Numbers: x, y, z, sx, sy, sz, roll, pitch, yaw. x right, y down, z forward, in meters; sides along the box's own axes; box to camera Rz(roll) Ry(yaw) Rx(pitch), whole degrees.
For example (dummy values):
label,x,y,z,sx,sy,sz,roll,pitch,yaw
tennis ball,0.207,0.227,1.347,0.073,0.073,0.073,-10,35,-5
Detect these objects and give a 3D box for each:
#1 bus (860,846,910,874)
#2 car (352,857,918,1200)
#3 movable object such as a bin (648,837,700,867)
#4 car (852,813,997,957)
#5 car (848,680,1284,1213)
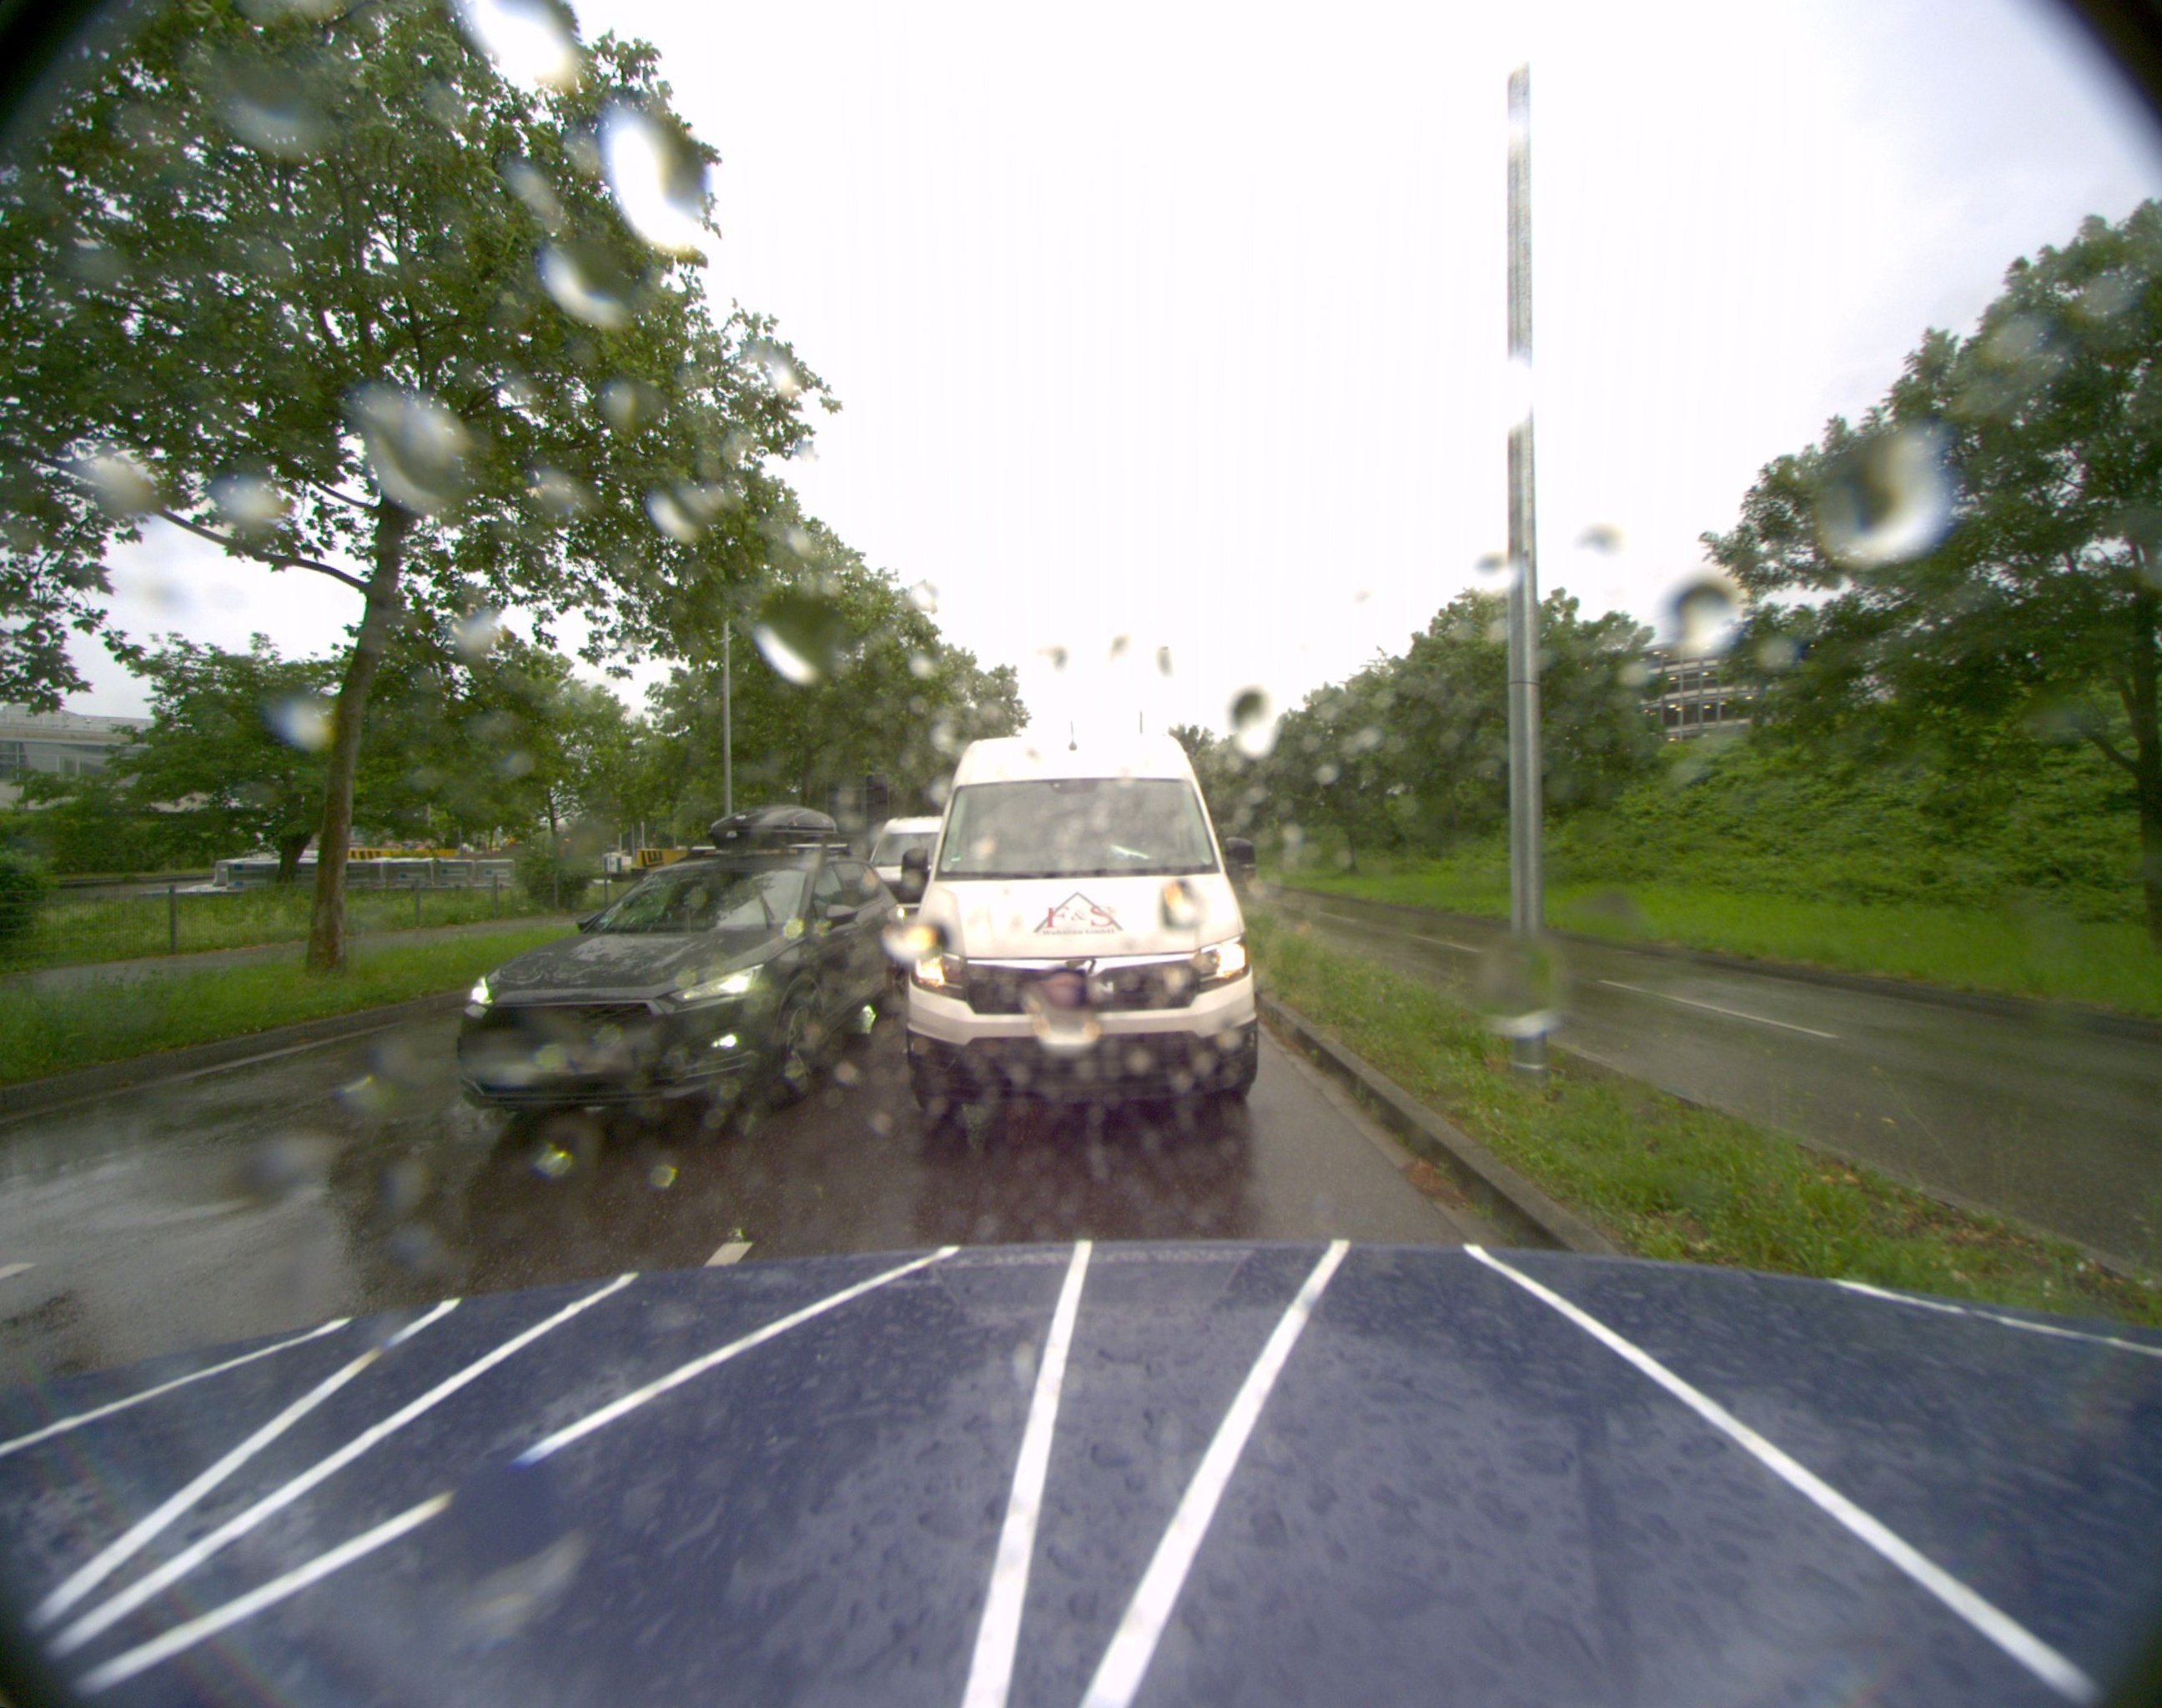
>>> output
label,x,y,z,sx,sy,sz,roll,pitch,yaw
bus,-19.146,0.567,74.391,4.370,2.553,1.711,-2,1,0
car,-2.749,0.903,6.091,1.894,1.688,4.423,-1,0,0
movable object such as a bin,-47.983,-0.243,89.656,4.947,3.415,1.913,-3,1,-40
car,-2.971,0.528,15.653,1.894,2.432,5.317,-1,0,-1
car,-0.112,0.430,6.460,2.027,2.498,5.695,-1,0,-1
